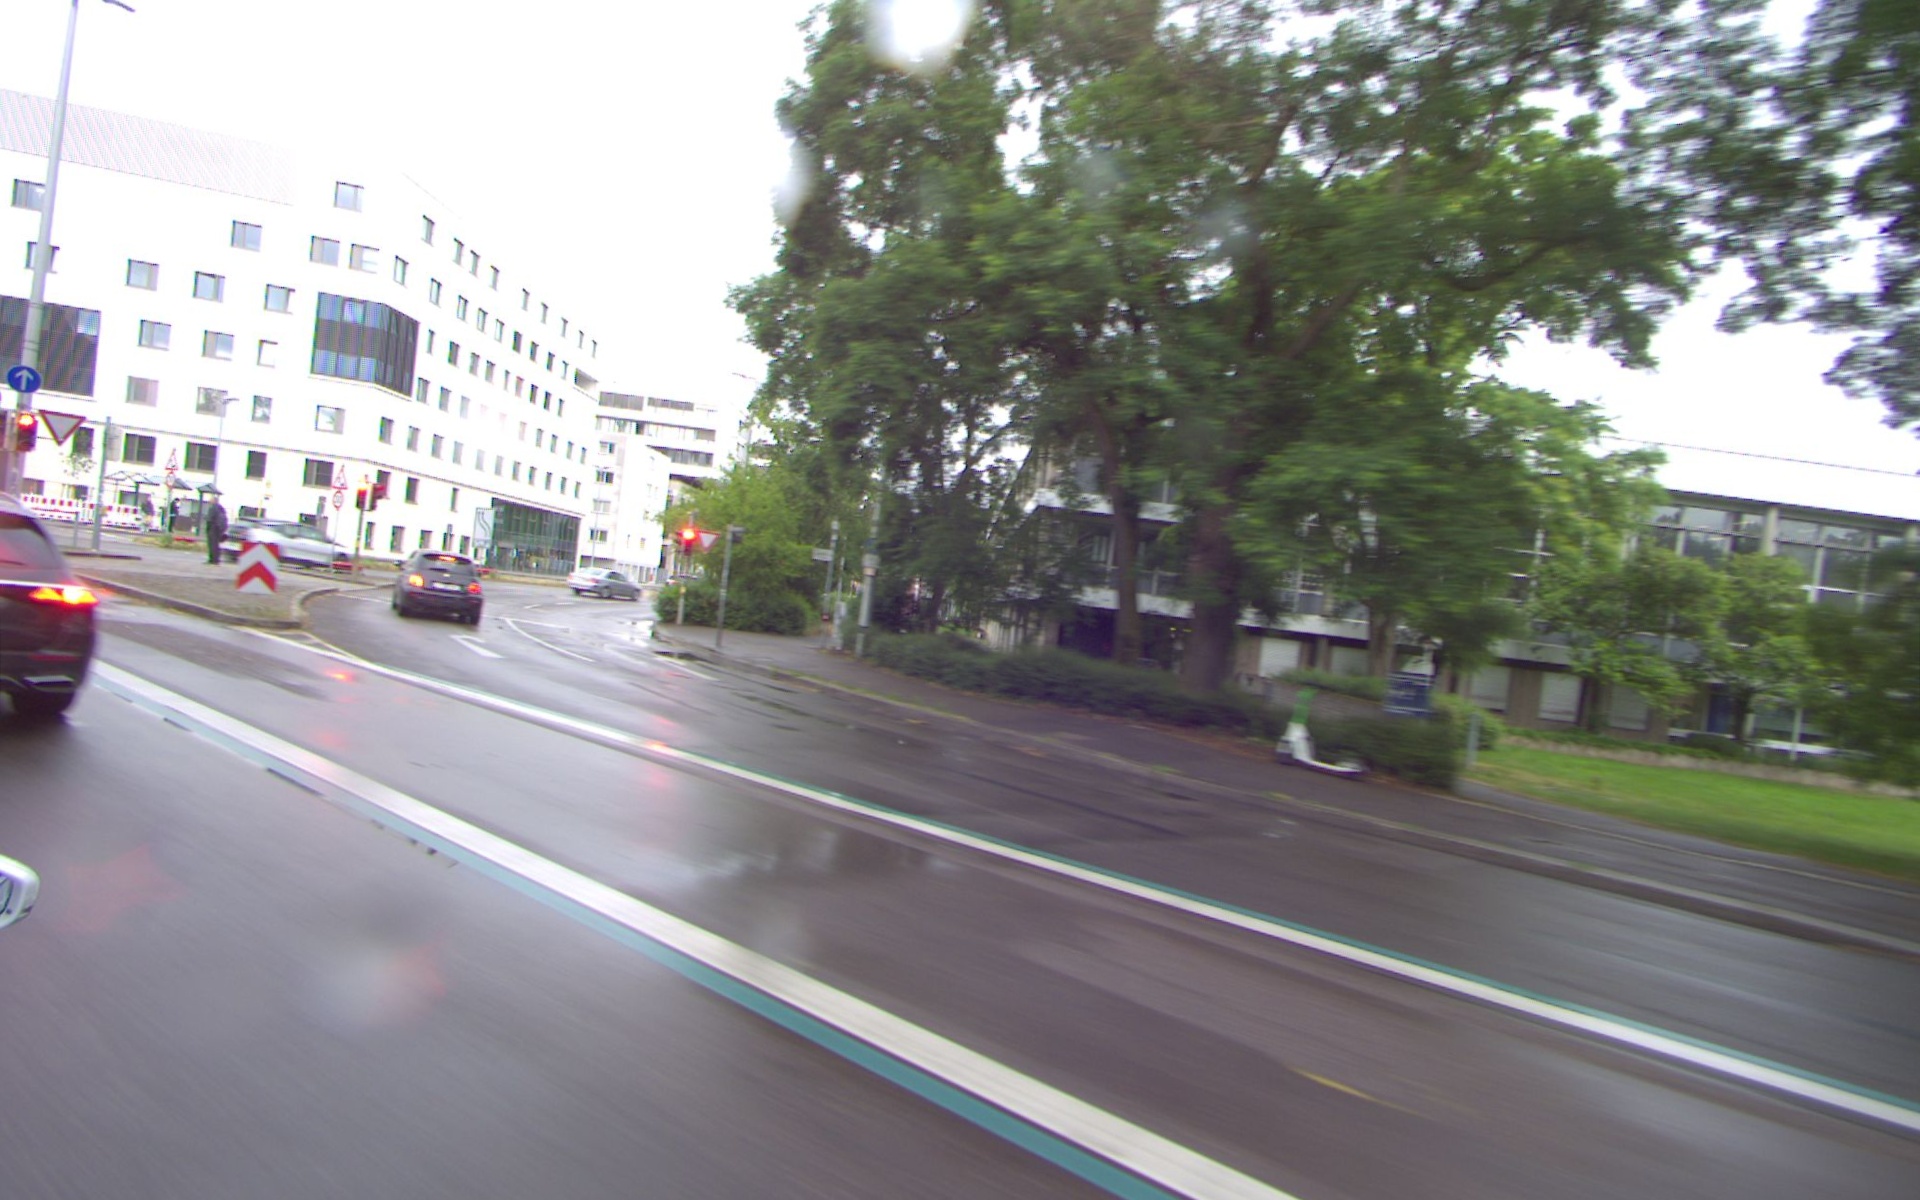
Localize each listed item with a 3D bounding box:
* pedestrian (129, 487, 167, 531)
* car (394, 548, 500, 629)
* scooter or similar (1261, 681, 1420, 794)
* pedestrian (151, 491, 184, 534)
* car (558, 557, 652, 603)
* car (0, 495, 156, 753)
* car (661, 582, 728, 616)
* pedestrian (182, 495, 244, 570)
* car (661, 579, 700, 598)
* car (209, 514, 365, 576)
[{"bbox_3d":[-38.436,-4.307,47.642,0.809,1.861,0.954,6,-1,23],"label":"pedestrian"},{"bbox_3d":[-11.773,-0.288,22.958,1.848,1.466,3.971,8,-2,-29],"label":"car"},{"bbox_3d":[4.936,1.757,13.177,0.552,1.116,1.872,4,3,-35],"label":"scooter or similar"},{"bbox_3d":[-39.442,-4.368,50.058,0.941,1.958,1.000,6,-2,43],"label":"pedestrian"},{"bbox_3d":[-17.767,-0.960,50.630,1.833,1.669,4.782,6,-2,16],"label":"car"},{"bbox_3d":[-7.633,-0.125,6.889,4.851,1.462,1.882,7,-1,34],"label":"car"},{"bbox_3d":[-17.190,-0.022,65.411,1.833,1.669,4.782,6,-2,18],"label":"car"},{"bbox_3d":[-20.852,-1.881,28.100,1.009,1.914,0.830,6,-1,25],"label":"pedestrian"},{"bbox_3d":[-30.215,-1.252,108.629,4.005,1.575,1.960,7,-2,40],"label":"car"},{"bbox_3d":[-22.893,-1.826,34.395,1.833,1.437,4.003,6,-2,21],"label":"car"}]
